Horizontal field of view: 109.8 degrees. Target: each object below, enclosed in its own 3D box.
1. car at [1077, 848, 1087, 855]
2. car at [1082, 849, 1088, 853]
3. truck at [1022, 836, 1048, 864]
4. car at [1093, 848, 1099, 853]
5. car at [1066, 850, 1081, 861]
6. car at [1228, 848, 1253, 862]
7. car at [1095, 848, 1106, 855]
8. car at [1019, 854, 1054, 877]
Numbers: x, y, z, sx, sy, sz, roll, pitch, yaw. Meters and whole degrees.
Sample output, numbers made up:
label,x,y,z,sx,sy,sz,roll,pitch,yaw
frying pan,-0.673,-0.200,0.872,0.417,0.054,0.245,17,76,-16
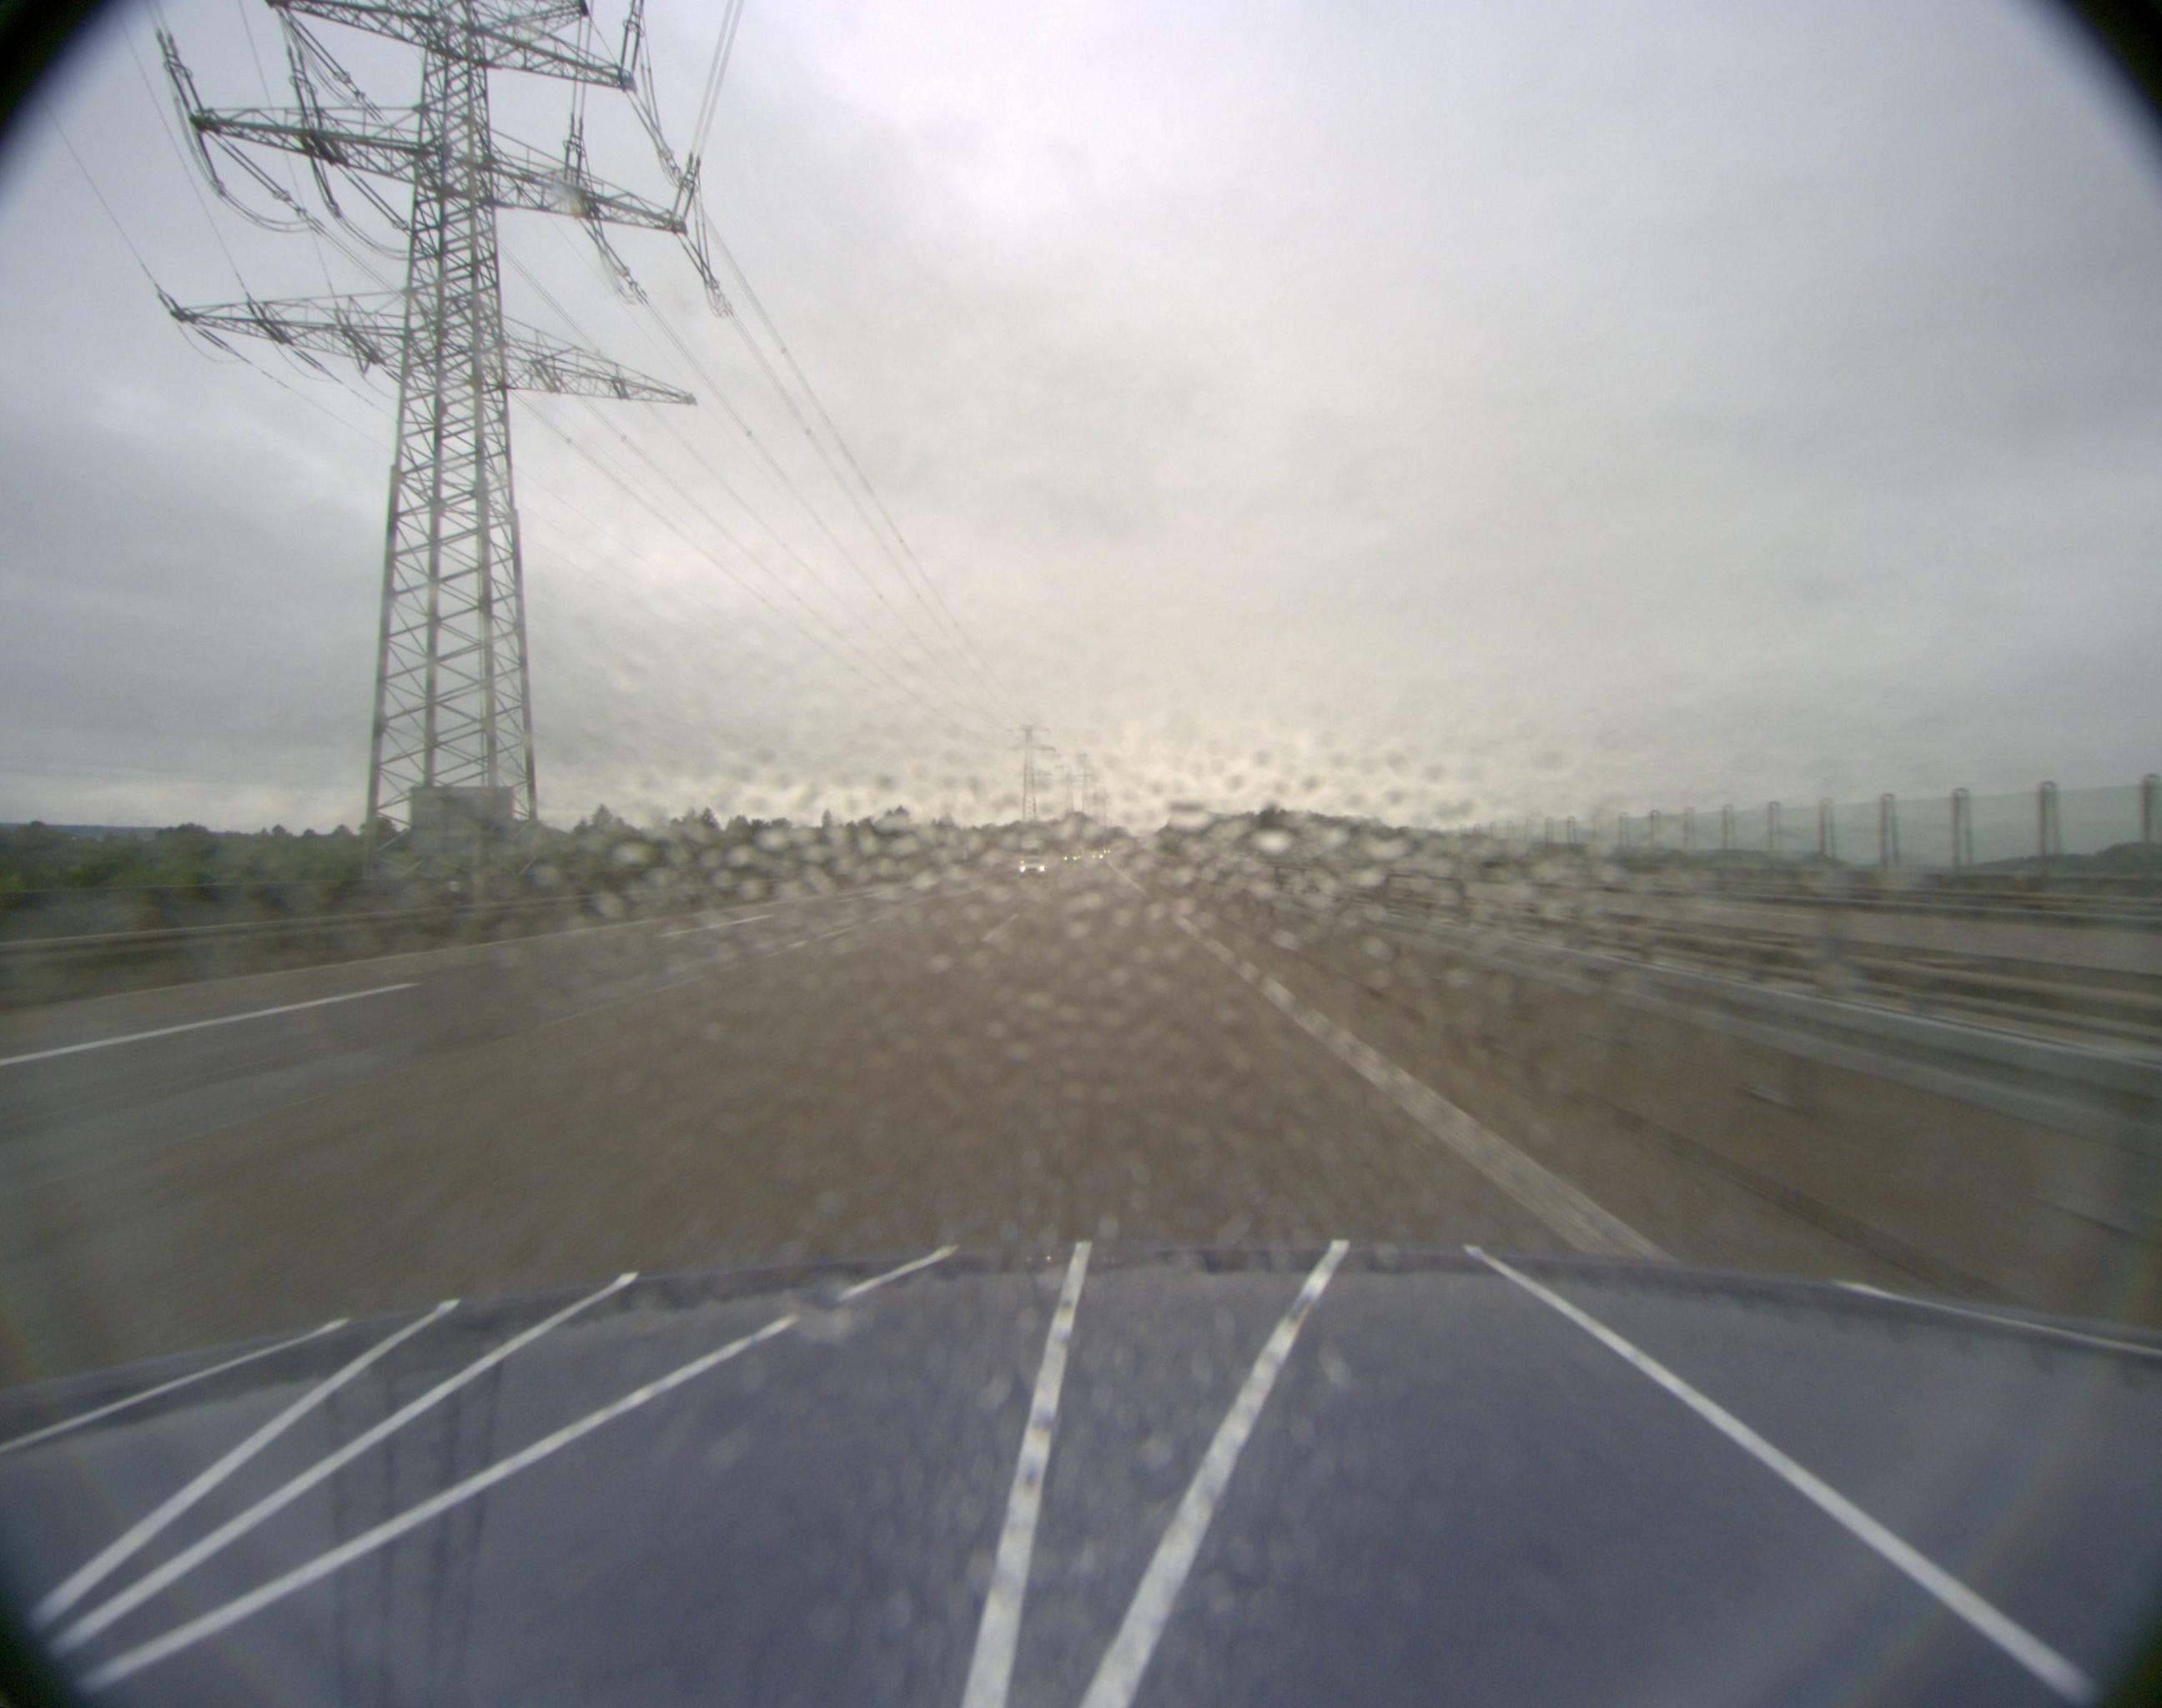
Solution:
label,x,y,z,sx,sy,sz,roll,pitch,yaw
car,0.239,-0.541,154.462,1.856,1.418,4.000,-2,1,2
car,1.250,-1.073,257.953,1.783,1.482,4.000,-2,1,2
truck,-5.816,-0.511,97.363,2.649,3.325,6.931,-2,1,2
car,4.965,-1.139,258.149,1.998,1.418,4.000,-2,1,2
car,-1.046,0.208,111.292,1.998,1.418,4.000,-2,1,2
car,18.803,0.127,89.569,1.998,1.620,4.713,0,0,1
car,3.796,-0.509,146.456,1.998,1.418,4.000,-2,1,2
car,-3.057,0.752,52.670,1.998,1.418,4.000,-2,1,2
